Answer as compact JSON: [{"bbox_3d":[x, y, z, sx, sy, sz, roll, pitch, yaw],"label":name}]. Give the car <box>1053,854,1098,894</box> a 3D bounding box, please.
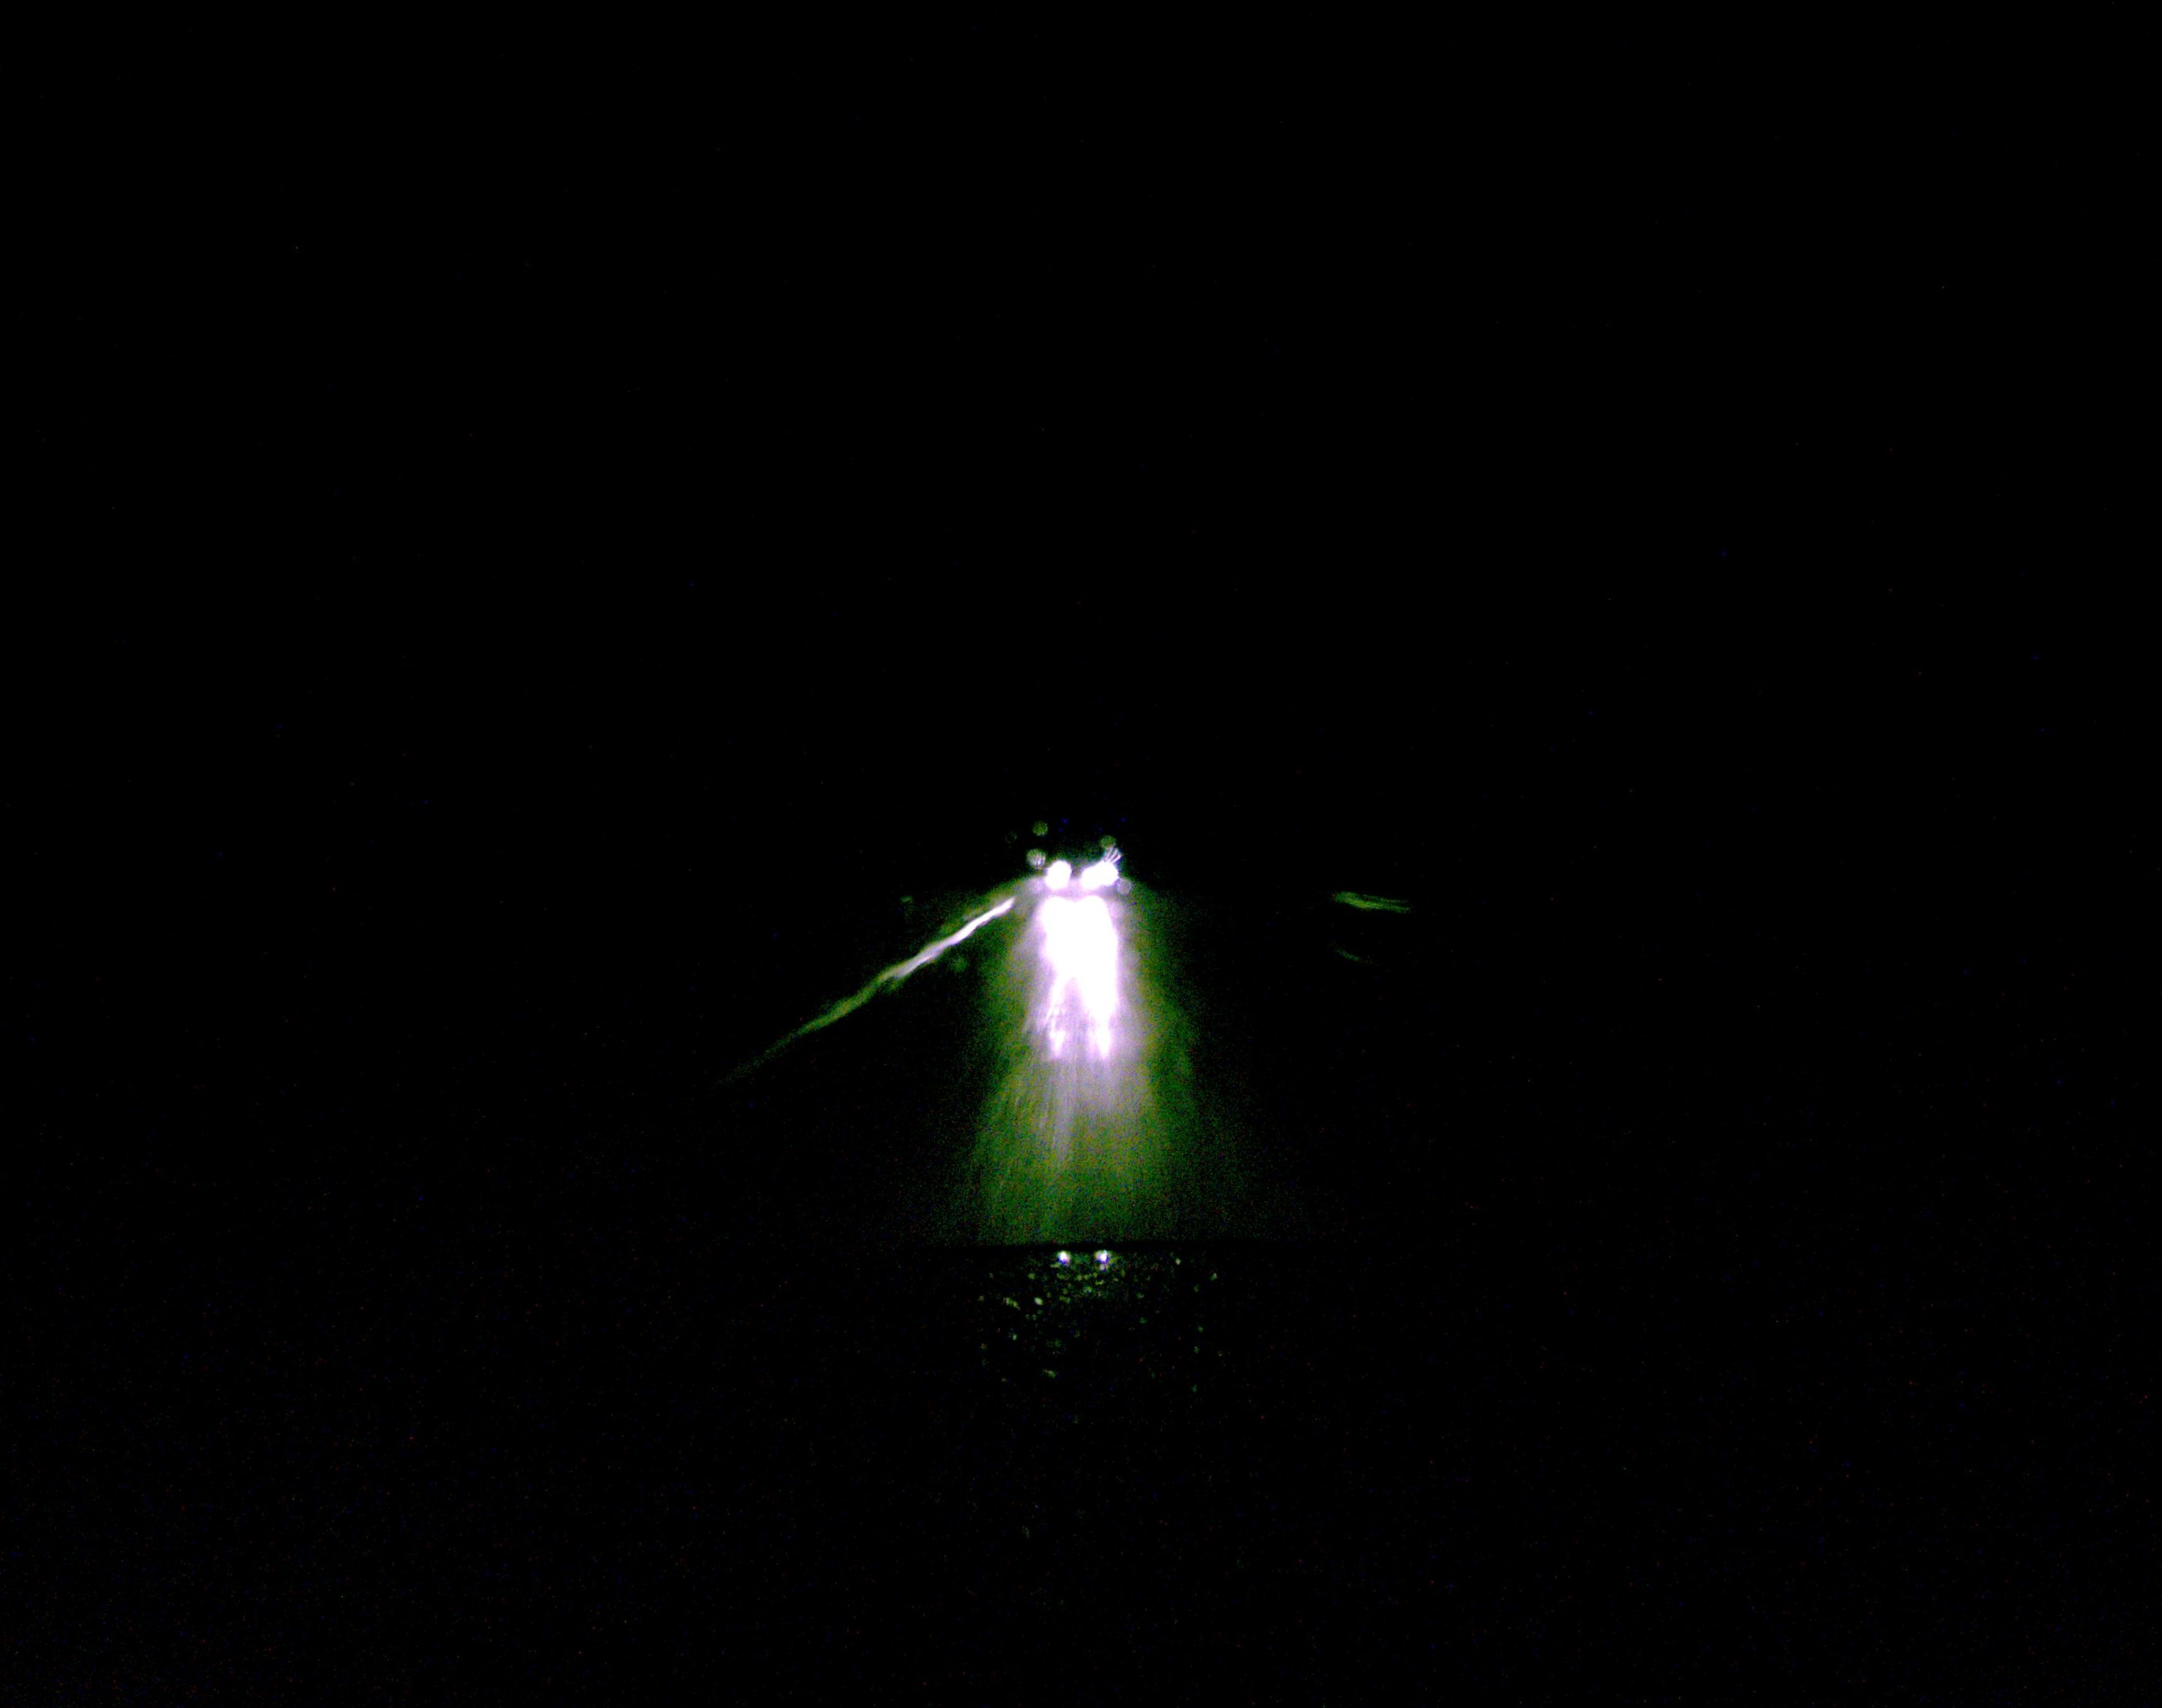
[{"bbox_3d":[-0.250,0.814,32.688,1.793,1.593,4.000,-1,0,-1],"label":"car"}]
